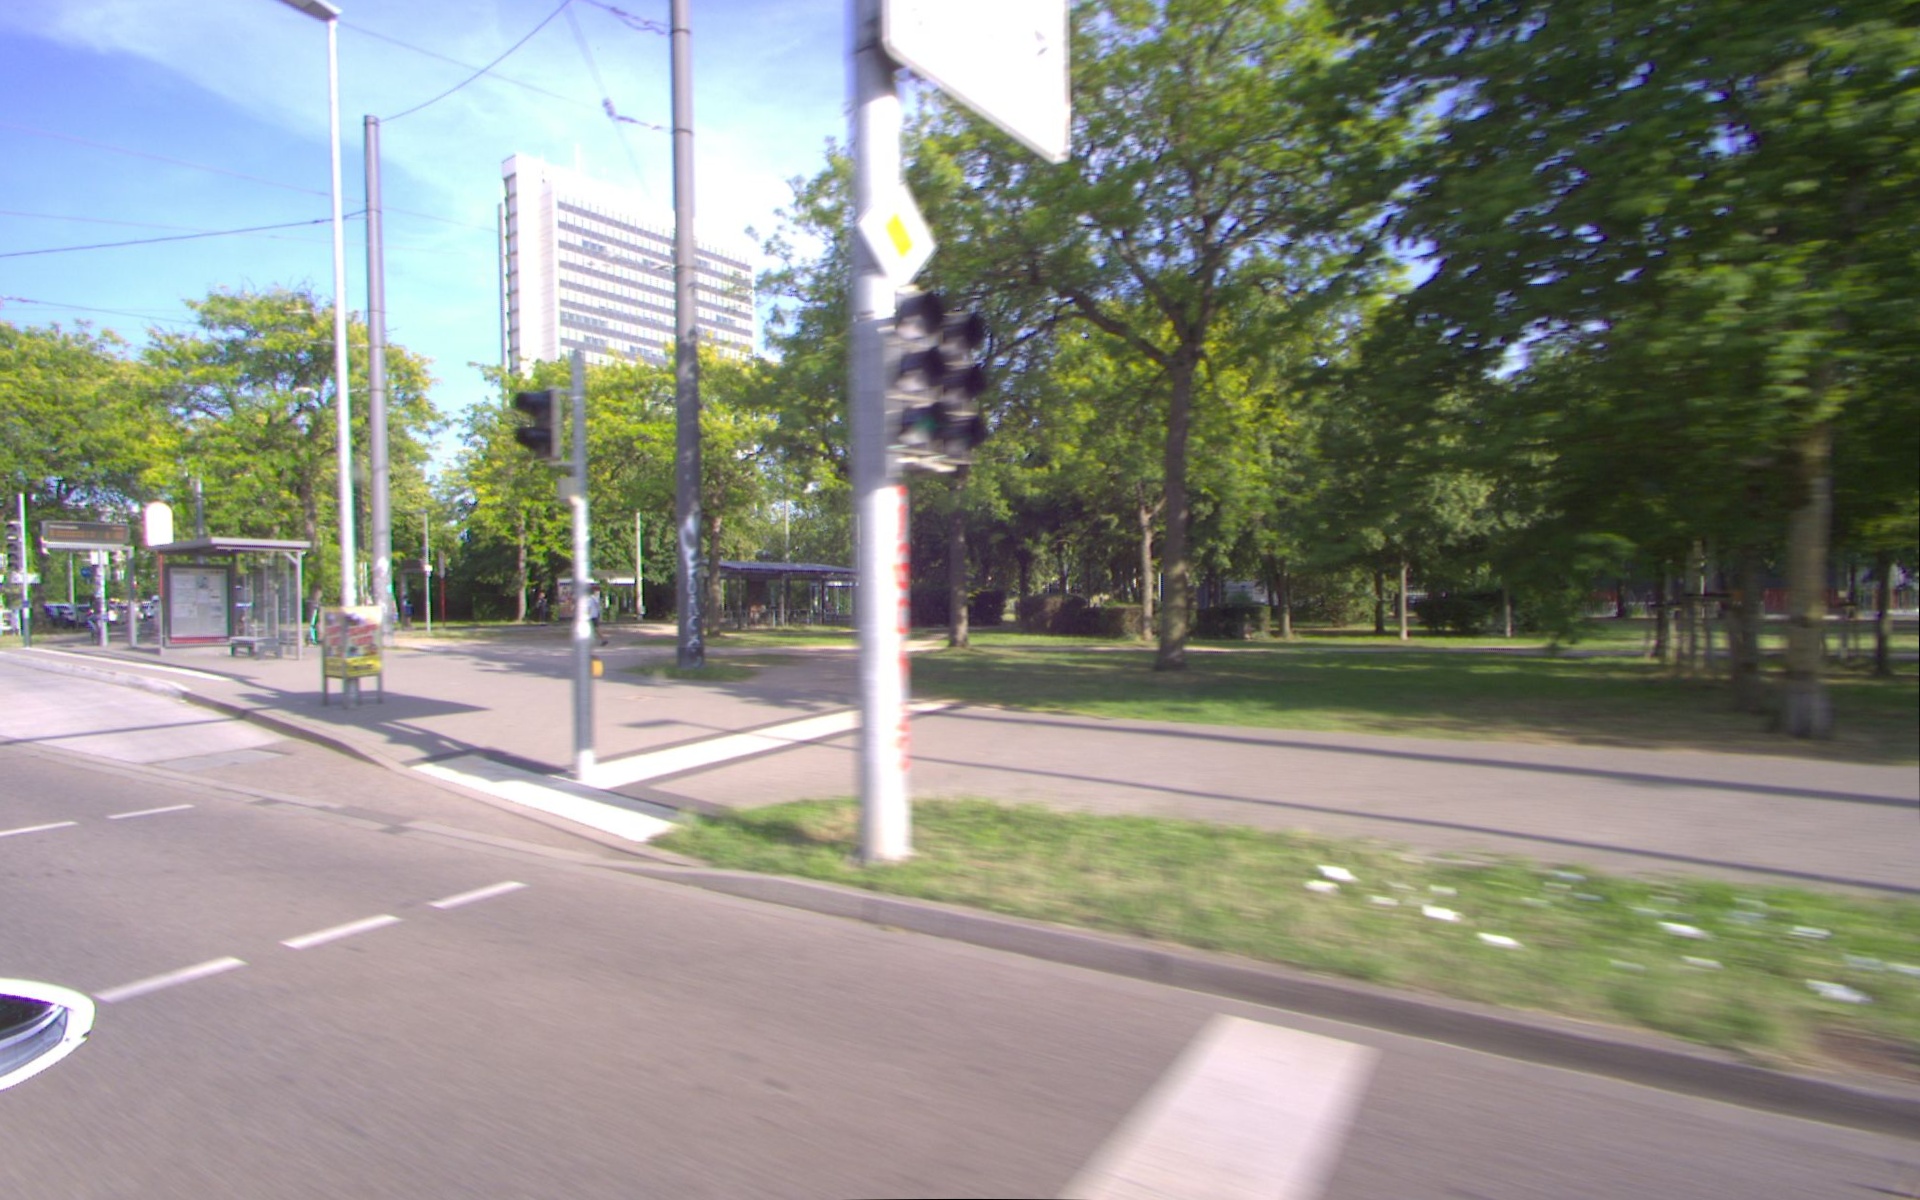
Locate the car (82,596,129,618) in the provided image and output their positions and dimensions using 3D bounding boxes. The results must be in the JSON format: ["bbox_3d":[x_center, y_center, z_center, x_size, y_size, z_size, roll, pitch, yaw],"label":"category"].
[{"bbox_3d":[-62.485,0.490,73.298,1.832,1.536,3.979,-2,1,-29],"label":"car"}]

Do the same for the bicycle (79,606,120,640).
[{"bbox_3d":[-29.923,0.784,34.820,1.710,1.103,0.638,0,3,36],"label":"bicycle"}]

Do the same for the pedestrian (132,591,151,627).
[{"bbox_3d":[-38.744,0.442,47.376,0.636,1.687,0.684,-1,1,-42],"label":"pedestrian"}]

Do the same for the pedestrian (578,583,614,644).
[{"bbox_3d":[-11.667,0.434,32.113,0.863,1.922,0.673,1,-1,5],"label":"pedestrian"}]

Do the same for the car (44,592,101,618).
[{"bbox_3d":[-56.818,0.309,64.165,1.832,1.536,3.979,-2,1,-29],"label":"car"}]

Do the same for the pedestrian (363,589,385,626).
[{"bbox_3d":[-26.890,0.337,45.941,0.680,1.687,0.639,0,1,32],"label":"pedestrian"}]

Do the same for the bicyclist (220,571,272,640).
[{"bbox_3d":[-19.068,0.146,26.746,1.123,1.770,0.647,0,4,31],"label":"bicyclist"}]

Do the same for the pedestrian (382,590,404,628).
[{"bbox_3d":[-25.904,0.413,45.753,0.680,1.687,0.639,0,1,32],"label":"pedestrian"}]

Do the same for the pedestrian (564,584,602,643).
[{"bbox_3d":[-11.781,0.434,31.318,0.863,1.800,0.673,1,-1,12],"label":"pedestrian"}]

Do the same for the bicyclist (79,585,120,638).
[{"bbox_3d":[-29.777,0.379,34.646,1.125,1.770,0.717,0,4,36],"label":"bicyclist"}]

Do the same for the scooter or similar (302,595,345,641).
[{"bbox_3d":[-17.459,0.498,27.474,1.115,1.248,0.351,0,1,18],"label":"scooter or similar"}]

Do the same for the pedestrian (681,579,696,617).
[{"bbox_3d":[-13.657,-0.092,50.361,0.594,1.891,0.462,0,-1,6],"label":"pedestrian"}]

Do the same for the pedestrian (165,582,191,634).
[{"bbox_3d":[-27.636,0.298,35.400,0.580,1.800,0.575,0,-1,40],"label":"pedestrian"}]

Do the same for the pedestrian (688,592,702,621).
[{"bbox_3d":[-17.002,0.433,64.228,0.667,1.823,0.604,2,-2,-45],"label":"pedestrian"}]

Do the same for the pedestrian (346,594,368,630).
[{"bbox_3d":[-27.807,0.563,46.181,0.680,1.632,0.639,0,1,32],"label":"pedestrian"}]

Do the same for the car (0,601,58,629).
[{"bbox_3d":[-54.714,0.844,58.644,1.831,1.536,3.981,-2,1,-28],"label":"car"}]

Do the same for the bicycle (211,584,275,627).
[{"bbox_3d":[-19.198,0.153,26.802,1.911,1.103,0.639,0,3,31],"label":"bicycle"}]
